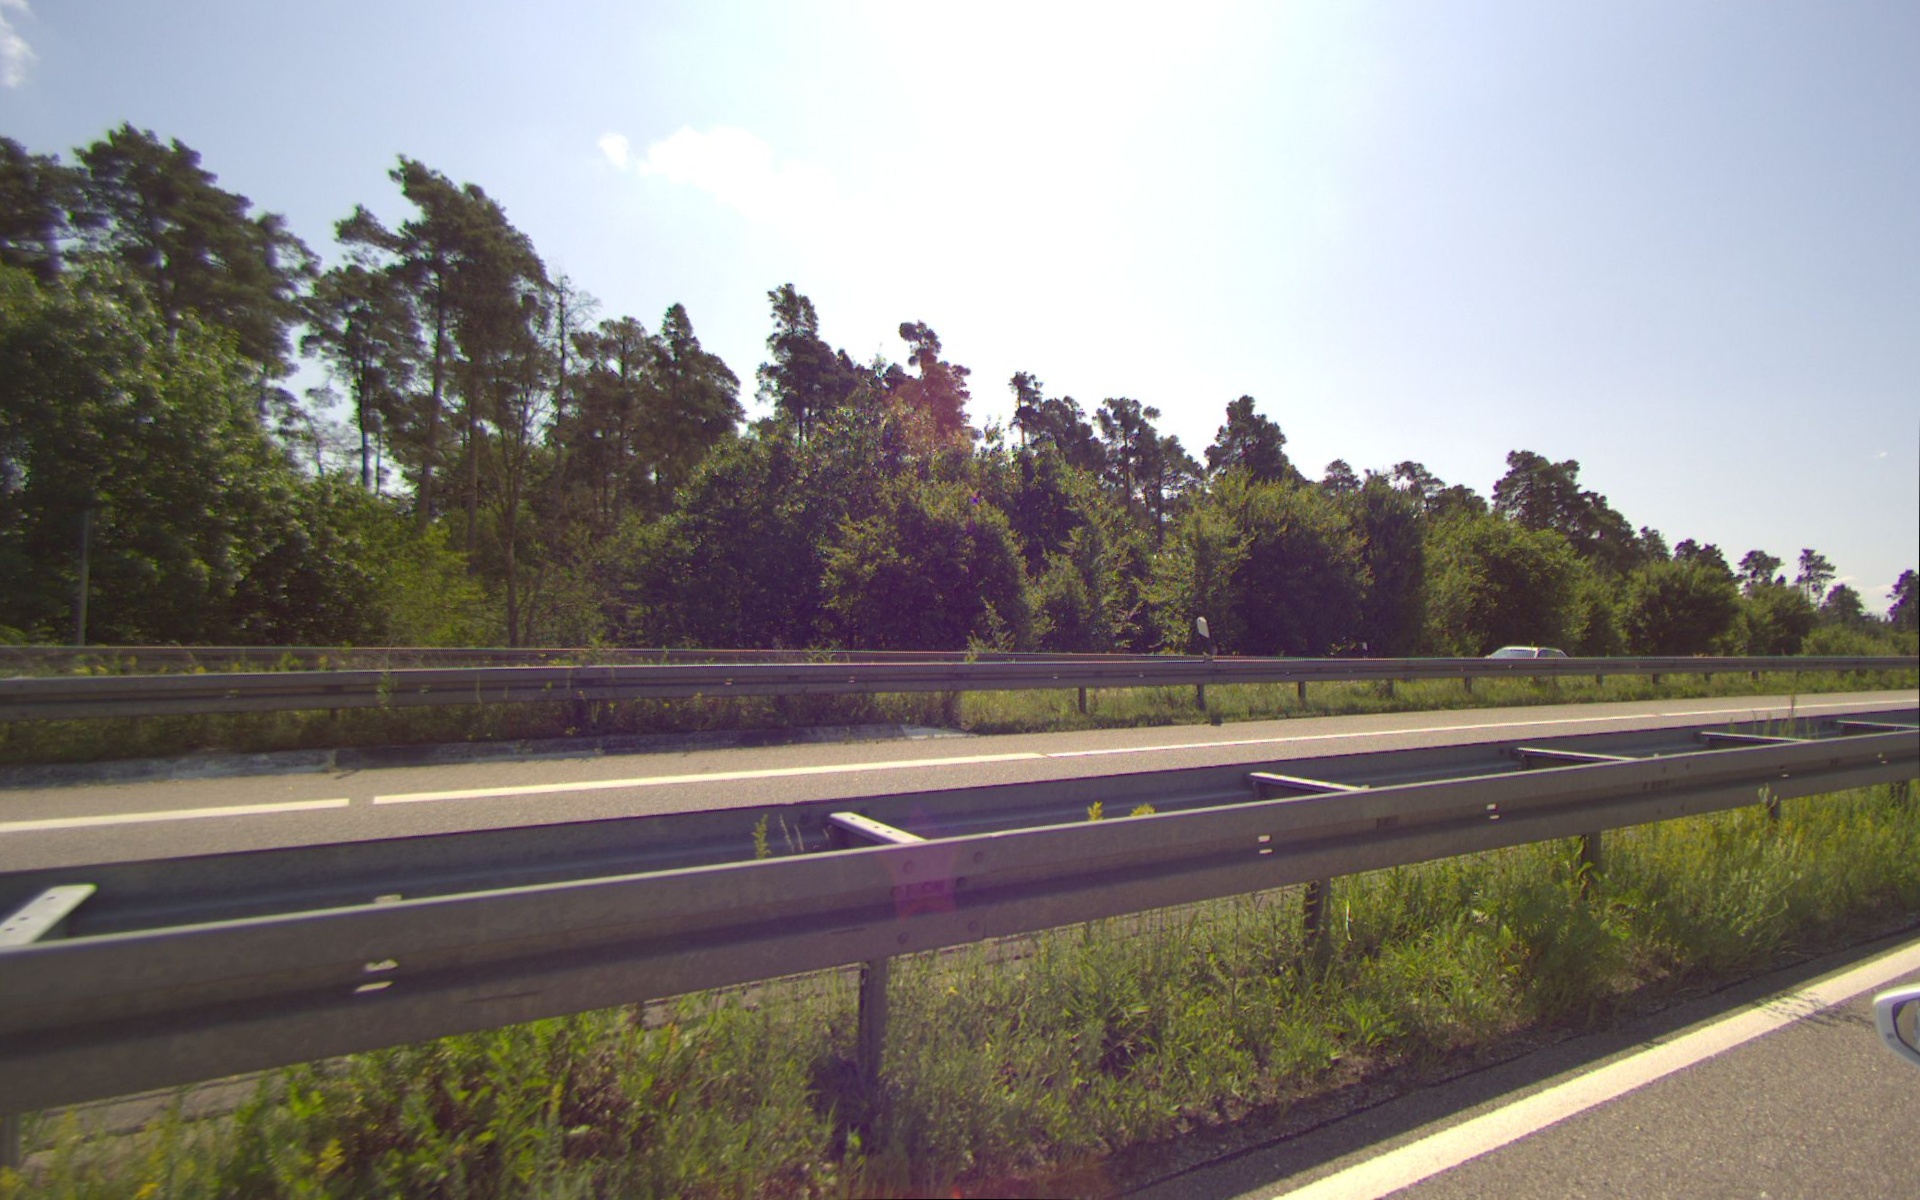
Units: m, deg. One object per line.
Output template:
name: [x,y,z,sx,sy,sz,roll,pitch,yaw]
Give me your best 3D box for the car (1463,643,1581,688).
car: [19.901,2.255,35.506,4.790,1.432,1.933,2,-1,-38]
